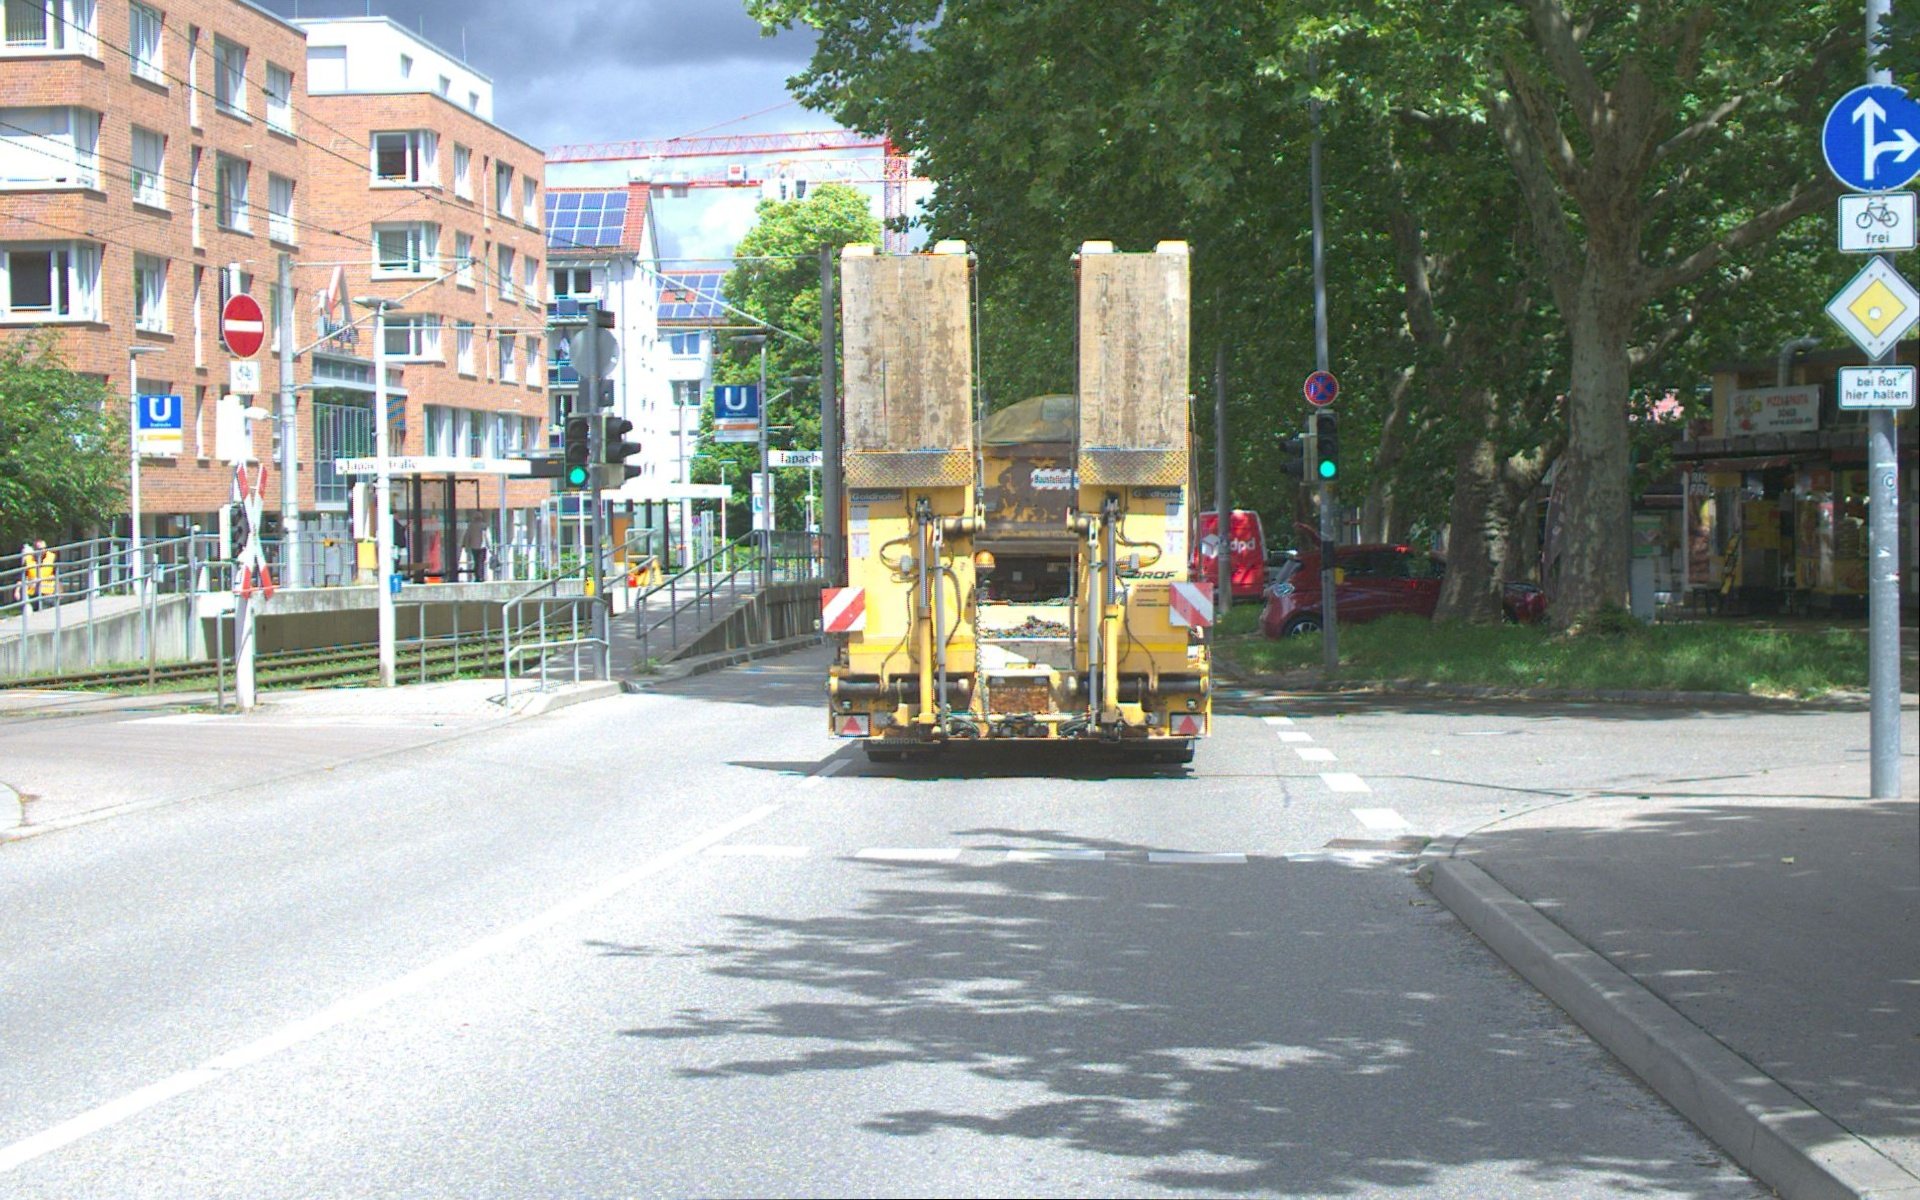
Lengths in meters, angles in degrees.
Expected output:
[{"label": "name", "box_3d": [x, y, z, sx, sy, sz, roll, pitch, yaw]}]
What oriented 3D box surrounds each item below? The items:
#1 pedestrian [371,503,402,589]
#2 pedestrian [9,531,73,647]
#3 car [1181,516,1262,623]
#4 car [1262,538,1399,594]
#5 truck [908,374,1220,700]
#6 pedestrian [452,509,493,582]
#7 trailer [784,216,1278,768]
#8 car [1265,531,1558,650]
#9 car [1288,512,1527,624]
[{"label": "pedestrian", "box_3d": [-11.839, -1.107, 70.969, 0.534, 1.758, 0.528, 0, 0, 1]}, {"label": "pedestrian", "box_3d": [-14.597, -0.179, 54.625, 0.743, 1.818, 0.829, -1, 1, 3]}, {"label": "car", "box_3d": [6.609, -0.771, 87.408, 1.905, 2.572, 6.833, -2, 0, 4]}, {"label": "car", "box_3d": [11.040, -1.007, 102.629, 3.829, 1.557, 1.620, -1, 0, -2]}, {"label": "truck", "box_3d": [1.175, -0.648, 37.318, 2.989, 3.124, 7.887, 1, 1, 2]}, {"label": "pedestrian", "box_3d": [-10.924, -1.224, 77.056, 0.751, 1.623, 0.815, 1, 0, 4]}, {"label": "trailer", "box_3d": [0.723, -0.757, 27.816, 3.154, 3.540, 11.096, 1, 1, 3]}, {"label": "car", "box_3d": [6.370, -0.140, 48.740, 4.030, 1.606, 1.730, -1, 1, 7]}, {"label": "car", "box_3d": [6.887, -0.491, 53.118, 3.407, 1.509, 1.610, -3, 0, 0]}]
